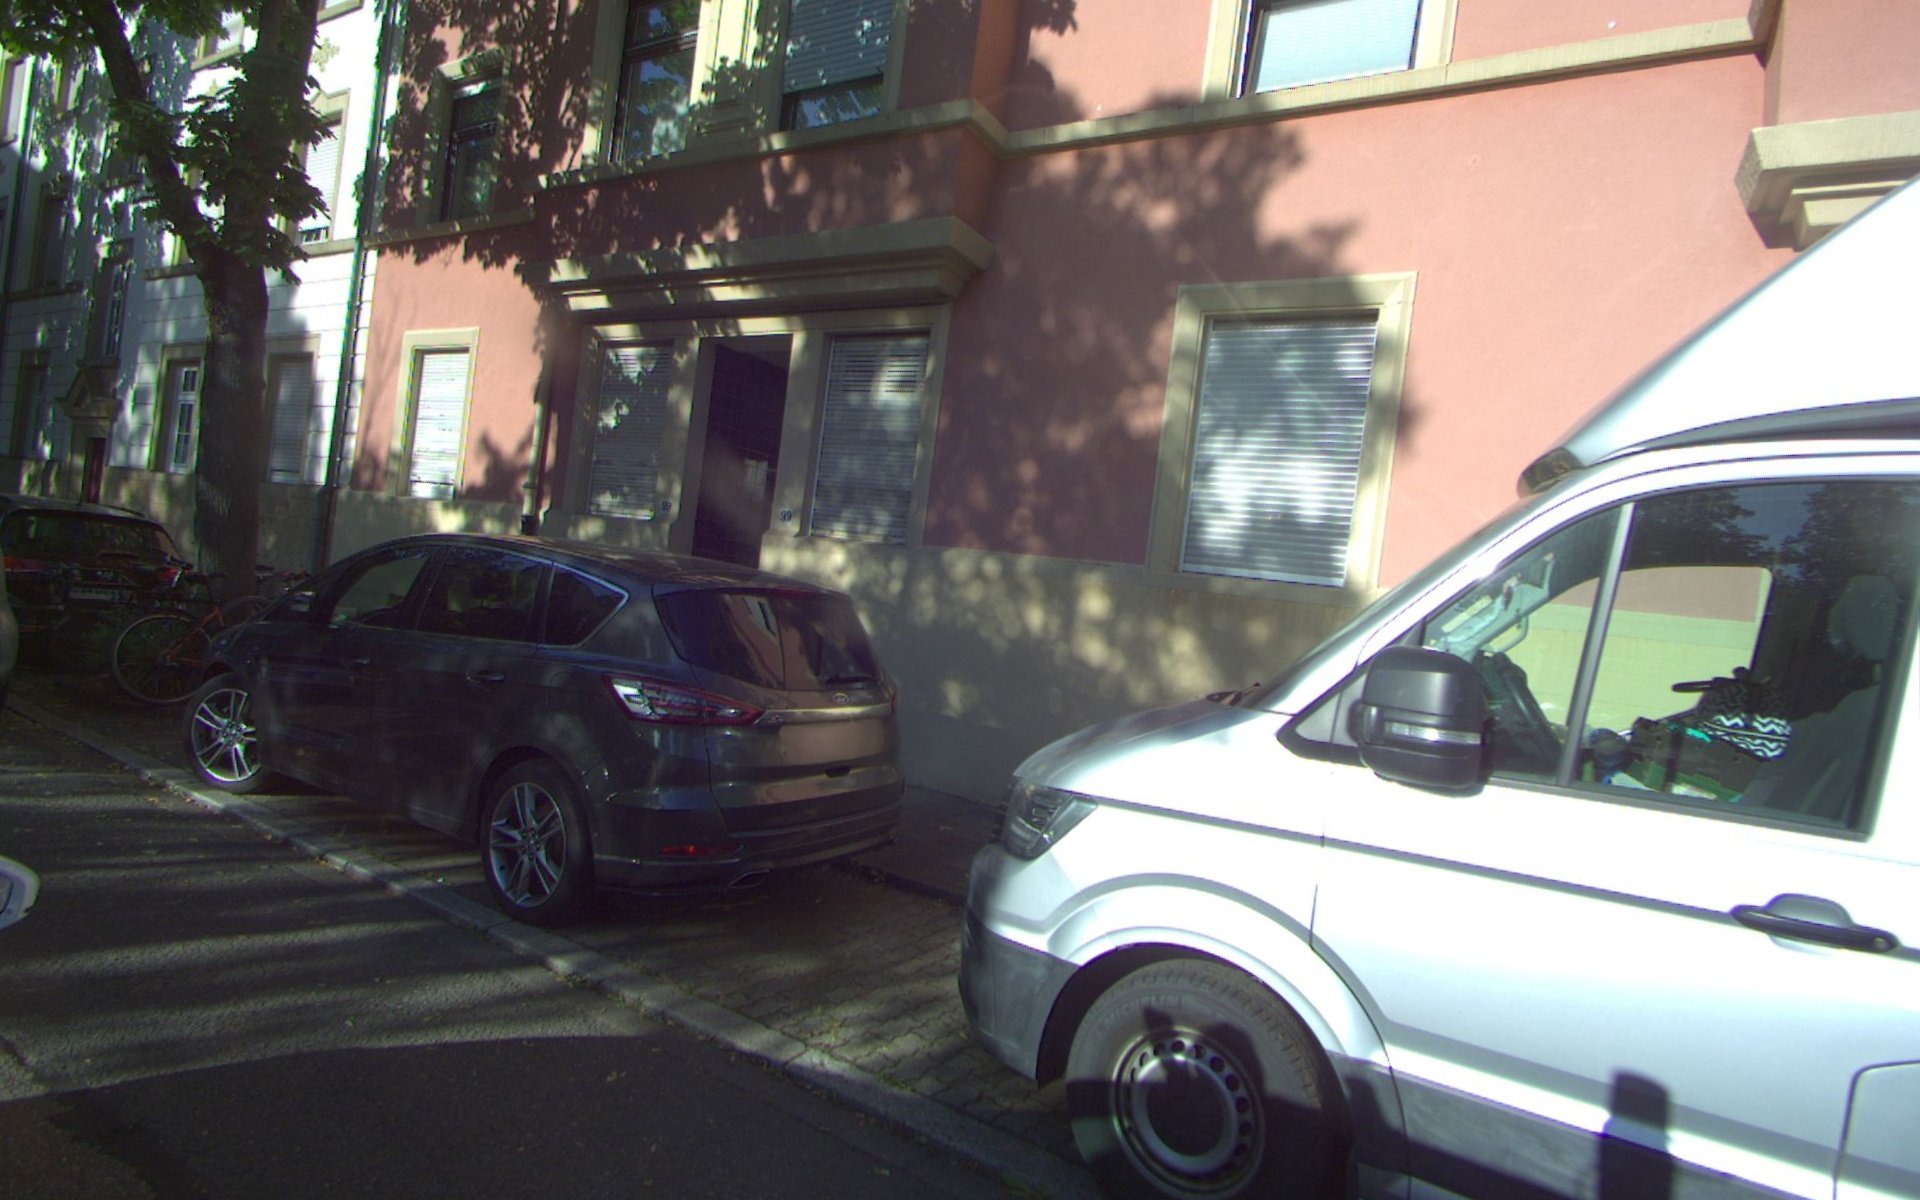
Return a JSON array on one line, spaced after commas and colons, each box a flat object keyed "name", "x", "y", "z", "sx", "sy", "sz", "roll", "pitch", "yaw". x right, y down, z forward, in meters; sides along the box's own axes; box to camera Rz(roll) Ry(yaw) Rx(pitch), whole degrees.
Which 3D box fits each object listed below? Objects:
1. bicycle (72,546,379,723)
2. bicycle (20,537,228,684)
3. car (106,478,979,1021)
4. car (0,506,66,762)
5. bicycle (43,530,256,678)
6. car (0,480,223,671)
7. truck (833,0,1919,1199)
[{"name": "bicycle", "x": -5.660, "y": 0.269, "z": 7.877, "sx": 0.560, "sy": 1.182, "sz": 1.812, "roll": 8, "pitch": 2, "yaw": 31}, {"name": "bicycle", "x": -6.746, "y": 0.114, "z": 8.168, "sx": 0.293, "sy": 1.089, "sz": 1.202, "roll": 8, "pitch": 1, "yaw": 31}, {"name": "car", "x": -2.548, "y": 0.461, "z": 5.686, "sx": 4.860, "sy": 1.737, "sz": 1.888, "roll": 8, "pitch": 0, "yaw": 31}, {"name": "car", "x": -7.801, "y": -0.040, "z": 6.648, "sx": 3.736, "sy": 1.562, "sz": 1.682, "roll": 7, "pitch": -1, "yaw": 31}, {"name": "bicycle", "x": -6.878, "y": 0.068, "z": 8.597, "sx": 0.322, "sy": 1.154, "sz": 1.308, "roll": 8, "pitch": 1, "yaw": 31}, {"name": "car", "x": -9.507, "y": -0.404, "z": 10.059, "sx": 4.385, "sy": 1.531, "sz": 1.790, "roll": 7, "pitch": -1, "yaw": 31}, {"name": "truck", "x": 2.847, "y": 0.332, "z": 2.314, "sx": 6.006, "sy": 3.008, "sz": 2.074, "roll": 8, "pitch": 3, "yaw": 31}]
